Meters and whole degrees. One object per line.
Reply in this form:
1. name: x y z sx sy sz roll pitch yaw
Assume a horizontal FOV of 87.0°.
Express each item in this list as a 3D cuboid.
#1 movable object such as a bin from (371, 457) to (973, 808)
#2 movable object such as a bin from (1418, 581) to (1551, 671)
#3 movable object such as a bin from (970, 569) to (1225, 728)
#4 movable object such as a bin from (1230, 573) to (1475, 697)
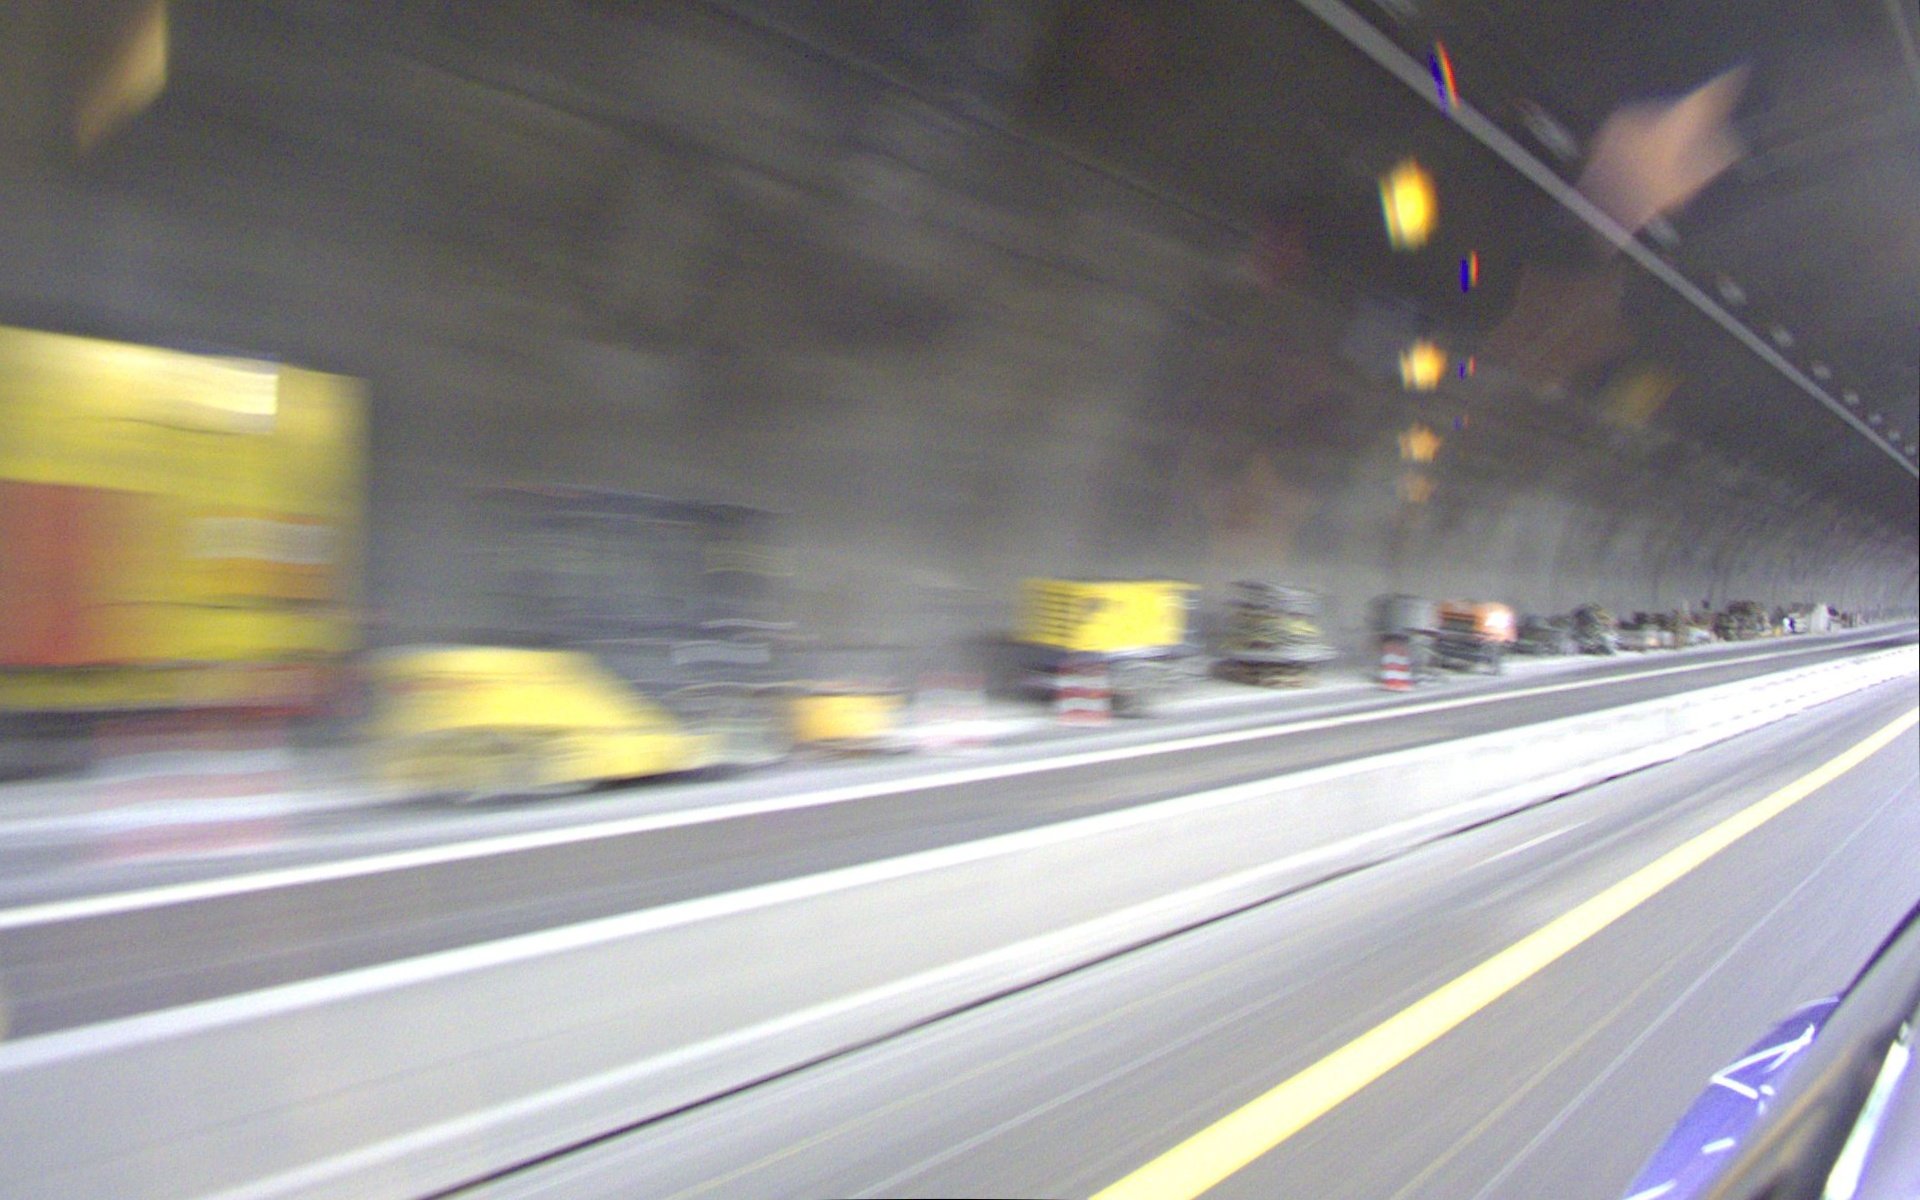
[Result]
1. movable object such as a bin: -2.138 0.180 8.418 4.548 2.173 1.686 -1 0 -41
2. movable object such as a bin: 10.613 0.489 20.411 3.002 1.613 1.306 1 3 -41
3. movable object such as a bin: 1.760 0.511 12.579 3.002 1.730 1.558 -1 0 -41
4. movable object such as a bin: 6.565 0.502 16.694 4.423 1.695 1.864 1 3 -41
